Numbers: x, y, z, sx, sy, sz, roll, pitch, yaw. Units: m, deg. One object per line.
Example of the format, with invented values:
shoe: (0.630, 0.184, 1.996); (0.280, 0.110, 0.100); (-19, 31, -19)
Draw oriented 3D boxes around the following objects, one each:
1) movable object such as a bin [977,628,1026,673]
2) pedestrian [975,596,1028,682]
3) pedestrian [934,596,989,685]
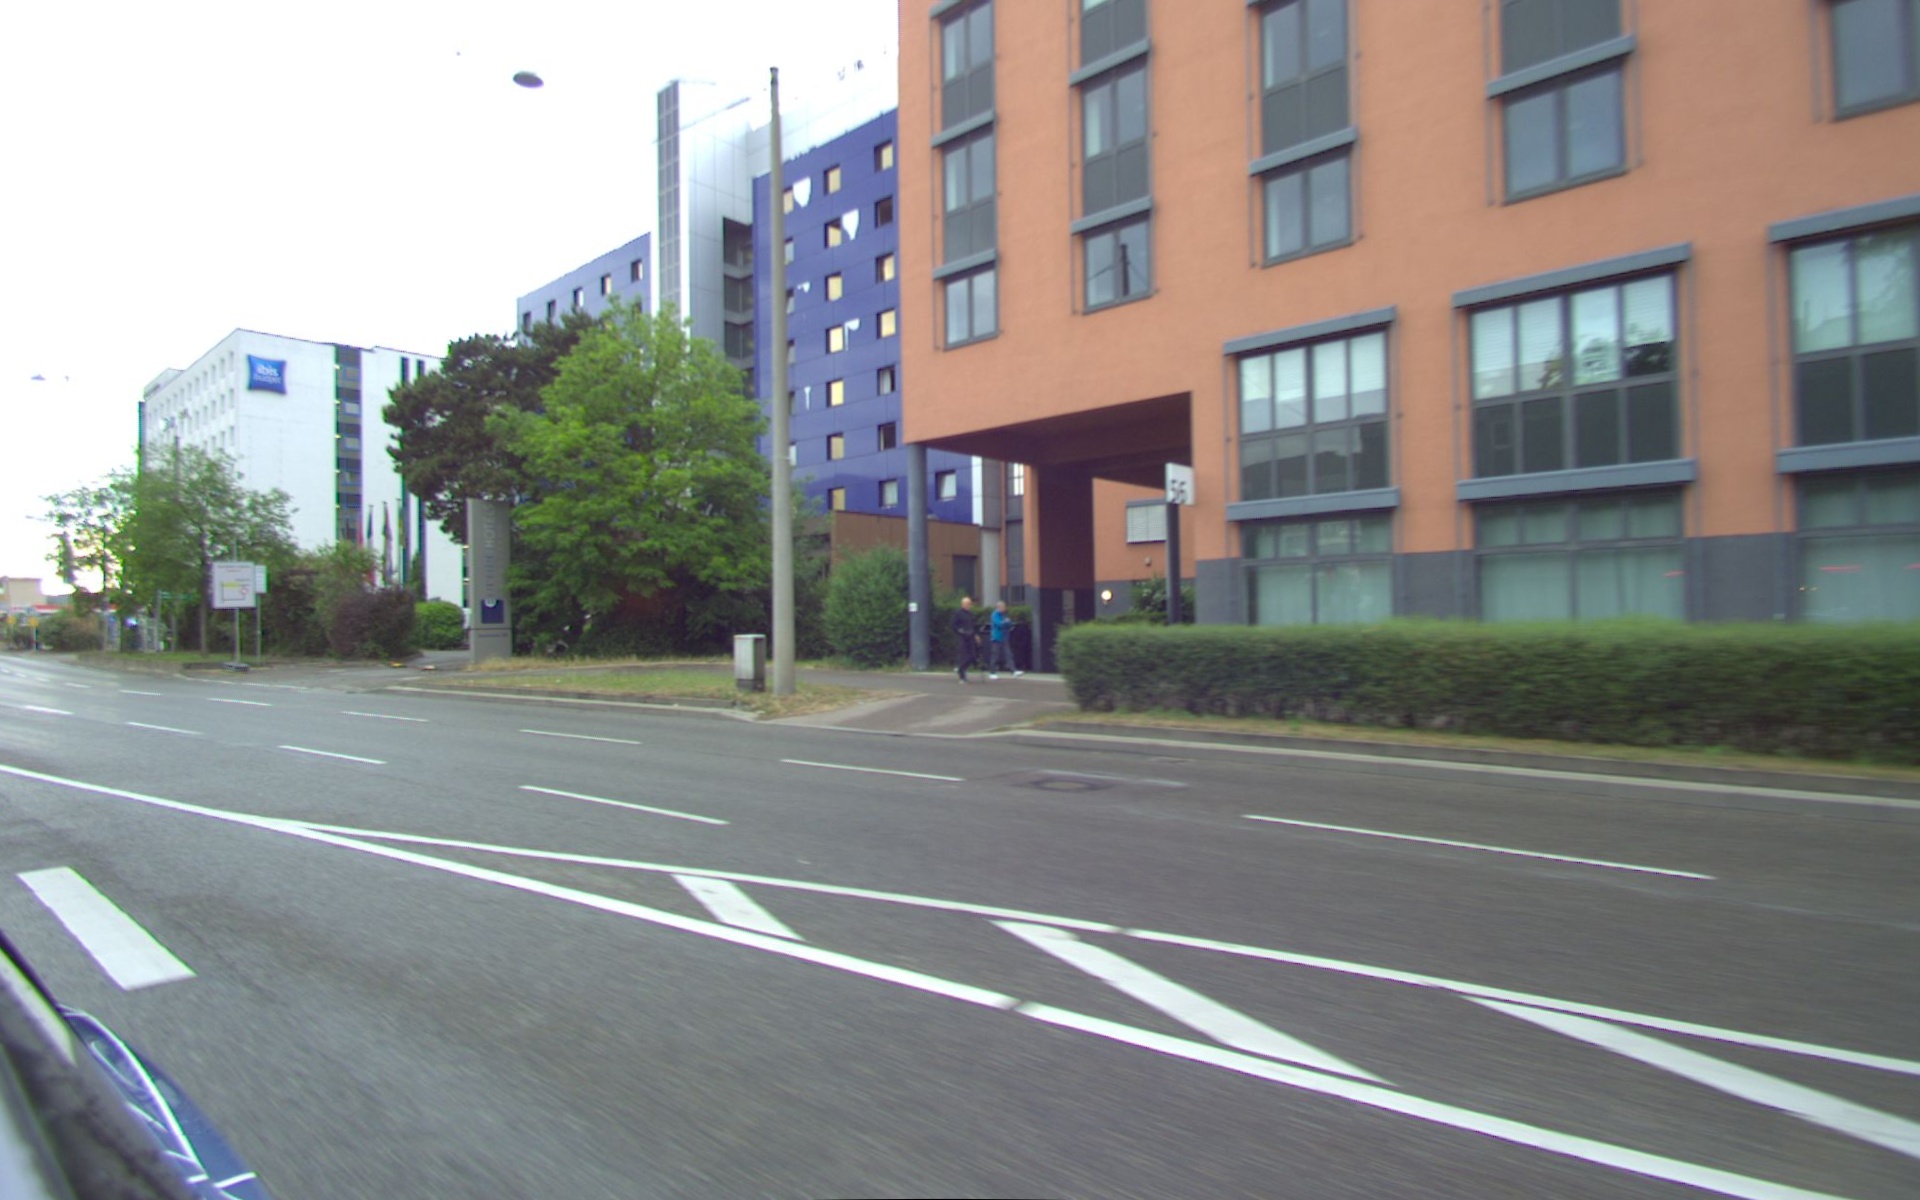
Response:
movable object such as a bin: (1.214, 1.482, 29.915); (1.208, 1.257, 0.772); (-2, -2, 38)
pedestrian: (0.938, 0.864, 22.726); (0.885, 1.855, 0.738); (-2, -1, 41)
pedestrian: (0.034, 0.867, 21.791); (0.885, 1.855, 0.738); (-2, -1, 41)
